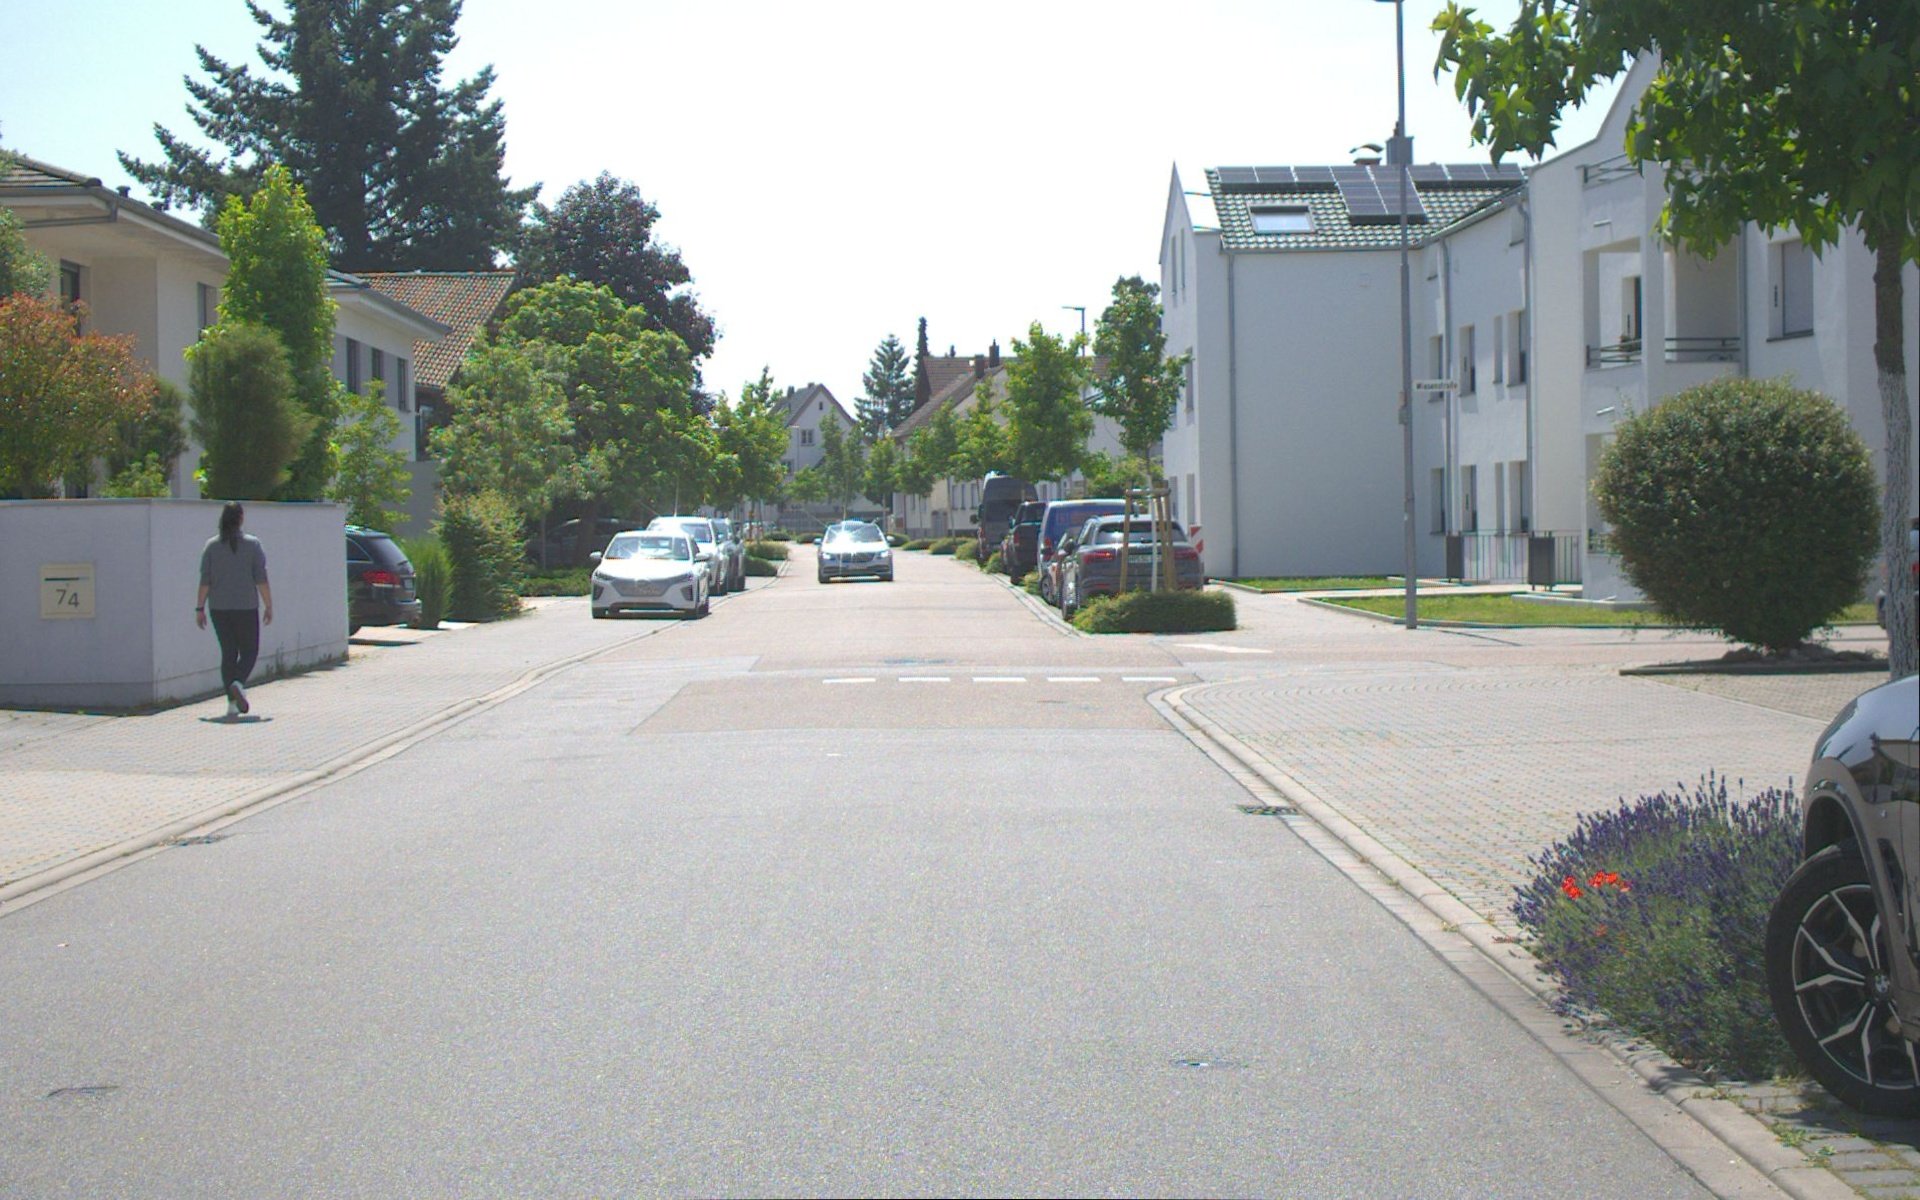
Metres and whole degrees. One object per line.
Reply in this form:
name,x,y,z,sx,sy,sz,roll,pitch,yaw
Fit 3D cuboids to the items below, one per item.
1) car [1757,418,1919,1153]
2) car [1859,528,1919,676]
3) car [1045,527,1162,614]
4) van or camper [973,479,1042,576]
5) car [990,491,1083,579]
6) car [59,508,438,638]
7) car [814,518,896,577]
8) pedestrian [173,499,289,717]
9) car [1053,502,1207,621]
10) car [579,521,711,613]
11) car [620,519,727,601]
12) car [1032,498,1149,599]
car,3.045,0.428,6.941,1.814,1.650,4.565,-1,2,0
car,11.389,-0.023,35.174,3.992,1.462,1.756,-1,1,6
car,2.495,-0.544,60.493,1.679,1.437,4.027,-1,1,-3
van or camper,1.453,-2.242,106.260,1.993,2.931,4.000,0,1,-1
car,1.782,-1.557,81.481,1.993,1.940,5.215,-2,1,0
car,-9.177,-0.362,44.542,4.429,1.468,1.850,2,1,4
car,-2.701,-1.389,89.306,1.853,1.473,4.700,-1,1,1
pedestrian,-5.975,0.053,28.202,0.714,1.741,0.961,-1,1,0
car,2.444,-0.587,50.321,1.773,1.590,4.280,-3,1,-3
car,-5.353,-0.596,58.918,1.852,1.483,4.385,-1,1,0
car,-6.141,-0.891,74.121,1.927,1.681,4.498,-1,1,0
car,2.503,-1.030,67.200,2.099,1.875,4.843,-1,1,0
